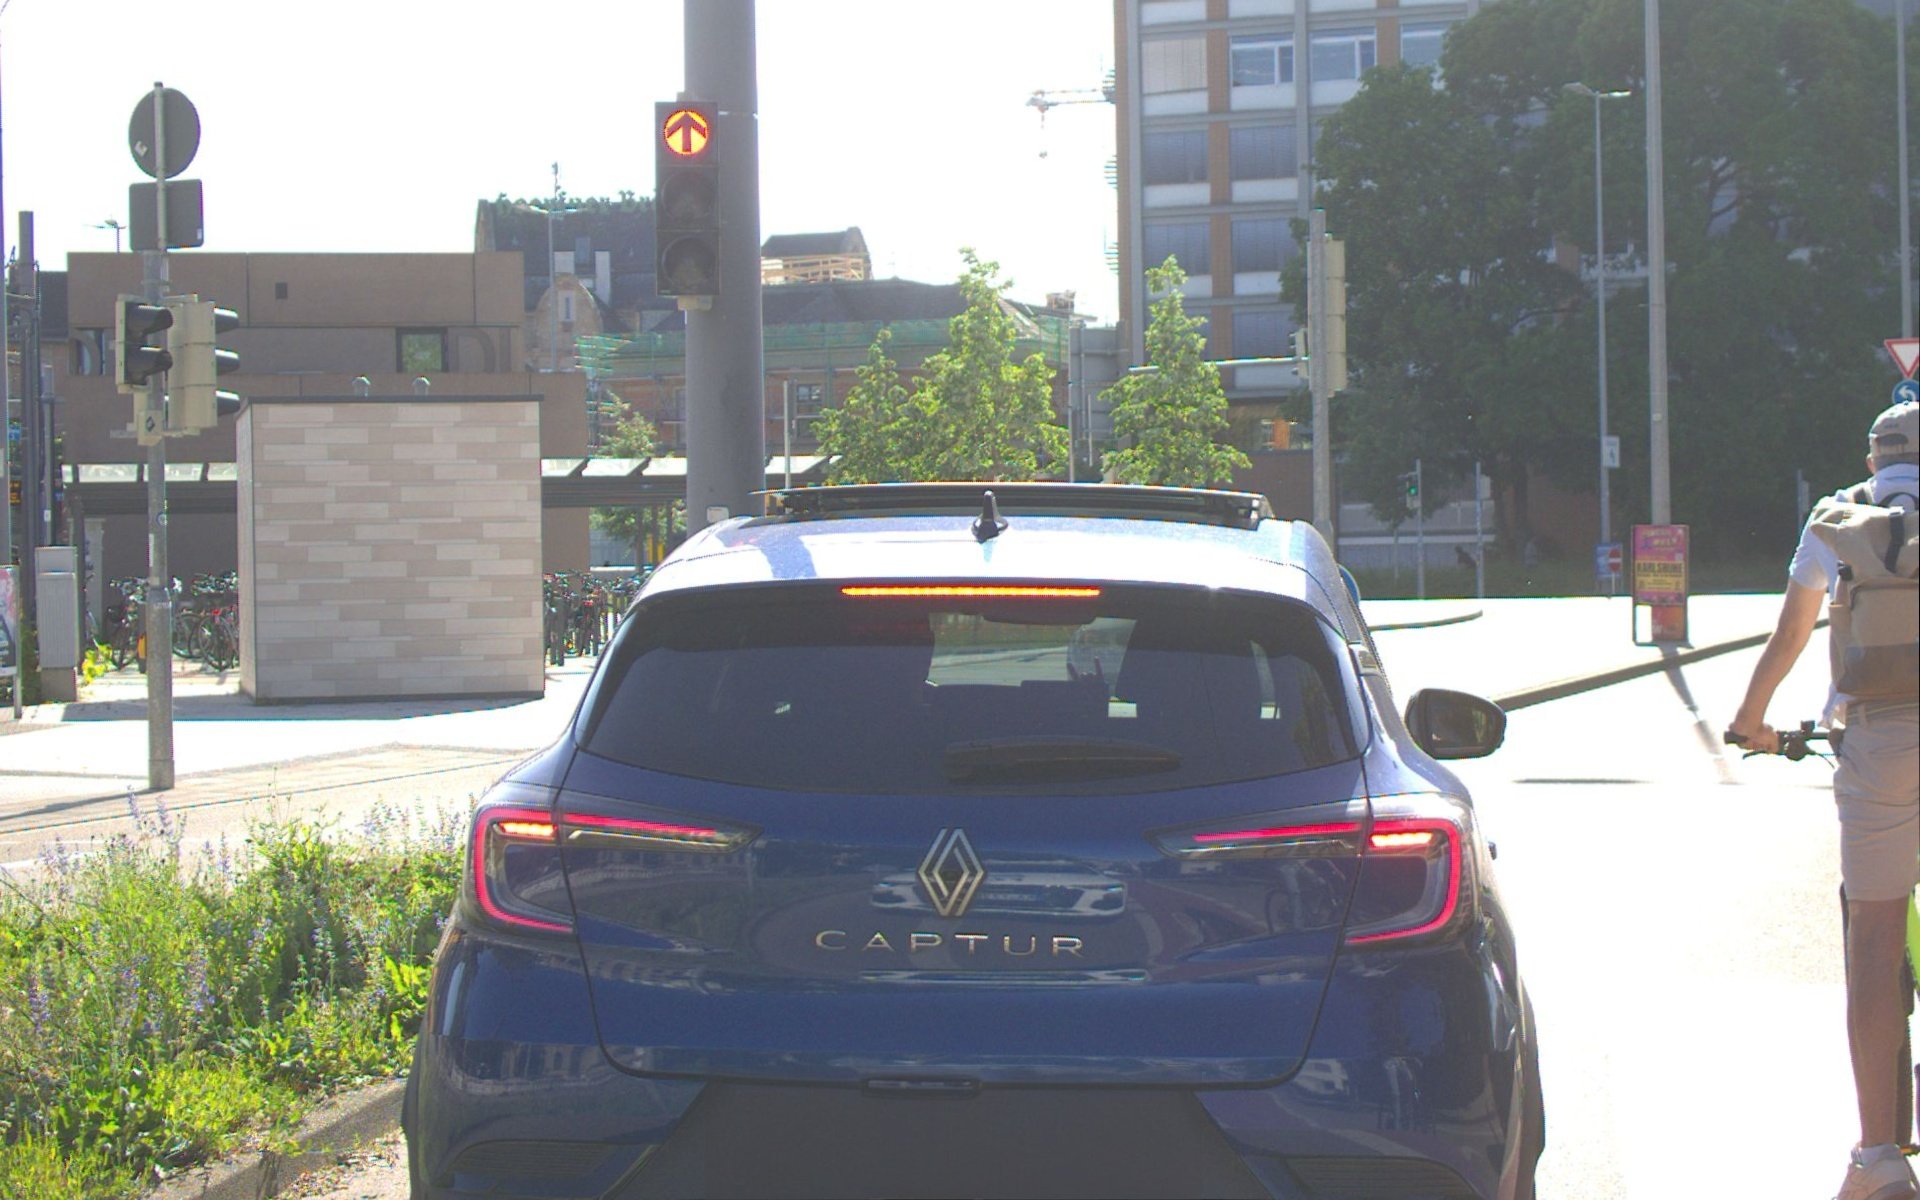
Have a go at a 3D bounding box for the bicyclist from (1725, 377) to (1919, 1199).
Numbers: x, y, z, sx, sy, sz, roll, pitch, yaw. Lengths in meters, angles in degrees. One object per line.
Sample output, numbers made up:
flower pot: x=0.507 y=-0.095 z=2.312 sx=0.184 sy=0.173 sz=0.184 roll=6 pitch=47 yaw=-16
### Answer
bicyclist: x=2.094 y=0.399 z=7.628 sx=0.664 sy=1.741 sz=1.005 roll=0 pitch=1 yaw=7

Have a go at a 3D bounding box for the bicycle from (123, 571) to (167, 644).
bicycle: x=-12.378 y=0.116 z=52.219 sx=0.565 sy=1.090 sz=2.030 roll=0 pitch=0 yaw=-11

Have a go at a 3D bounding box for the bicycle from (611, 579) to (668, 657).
bicycle: x=-4.022 y=0.227 z=43.036 sx=0.580 sy=0.958 sz=2.059 roll=0 pitch=0 yaw=-9

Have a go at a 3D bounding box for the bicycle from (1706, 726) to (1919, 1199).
bicycle: x=2.097 y=0.852 z=7.647 sx=0.663 sy=1.043 sz=1.890 roll=0 pitch=1 yaw=6

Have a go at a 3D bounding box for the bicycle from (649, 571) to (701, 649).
bicycle: x=-4.053 y=0.141 z=48.767 sx=0.580 sy=1.084 sz=2.059 roll=0 pitch=0 yaw=-9

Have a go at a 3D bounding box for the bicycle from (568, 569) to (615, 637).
bicycle: x=-6.026 y=0.050 z=56.170 sx=0.580 sy=1.084 sz=1.872 roll=0 pitch=0 yaw=-11

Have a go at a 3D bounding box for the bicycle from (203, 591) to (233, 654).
bicycle: x=-11.355 y=0.343 z=52.654 sx=0.421 sy=0.934 sz=1.379 roll=1 pitch=0 yaw=-11

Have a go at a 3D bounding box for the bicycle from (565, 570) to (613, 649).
bicycle: x=-5.262 y=0.137 z=48.695 sx=0.580 sy=1.084 sz=2.059 roll=0 pitch=0 yaw=-9

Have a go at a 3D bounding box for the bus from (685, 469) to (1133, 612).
bus: x=-1.470 y=-1.399 z=86.767 sx=12.434 sy=3.384 sz=2.876 roll=0 pitch=0 yaw=40

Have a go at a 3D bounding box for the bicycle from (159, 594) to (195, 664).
bicycle: x=-10.856 y=0.396 z=47.632 sx=0.421 sy=0.934 sz=1.306 roll=1 pitch=0 yaw=-15

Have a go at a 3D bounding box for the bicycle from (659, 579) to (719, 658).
bicycle: x=-3.410 y=0.230 z=43.124 sx=0.580 sy=0.958 sz=2.059 roll=0 pitch=0 yaw=-9

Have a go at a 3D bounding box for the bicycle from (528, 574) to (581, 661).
bicycle: x=-5.038 y=0.222 z=42.661 sx=0.580 sy=1.054 sz=1.817 roll=0 pitch=0 yaw=-9

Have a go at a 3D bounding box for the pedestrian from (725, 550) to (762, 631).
pedestrian: x=-4.986 y=-0.222 z=79.309 sx=0.726 sy=1.850 sz=0.702 roll=0 pitch=0 yaw=8

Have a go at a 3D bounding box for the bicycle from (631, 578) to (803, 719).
bicycle: x=-1.952 y=0.373 z=27.907 sx=0.773 sy=1.077 sz=2.034 roll=-1 pitch=0 yaw=14

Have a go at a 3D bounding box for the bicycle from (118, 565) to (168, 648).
bicycle: x=-10.904 y=0.091 z=45.910 sx=0.565 sy=1.090 sz=2.030 roll=0 pitch=0 yaw=-11

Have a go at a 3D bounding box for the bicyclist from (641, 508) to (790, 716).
bicyclist: x=-1.975 y=0.089 z=27.910 sx=0.880 sy=1.639 sz=1.060 roll=-1 pitch=0 yaw=14

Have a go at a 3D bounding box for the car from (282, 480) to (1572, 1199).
car: x=0.099 y=0.604 z=6.686 sx=1.823 sy=1.594 sz=3.658 roll=1 pitch=1 yaw=5

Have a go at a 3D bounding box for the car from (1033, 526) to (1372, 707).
car: x=2.205 y=0.104 z=30.113 sx=1.802 sy=1.388 sz=4.089 roll=-1 pitch=2 yaw=21
